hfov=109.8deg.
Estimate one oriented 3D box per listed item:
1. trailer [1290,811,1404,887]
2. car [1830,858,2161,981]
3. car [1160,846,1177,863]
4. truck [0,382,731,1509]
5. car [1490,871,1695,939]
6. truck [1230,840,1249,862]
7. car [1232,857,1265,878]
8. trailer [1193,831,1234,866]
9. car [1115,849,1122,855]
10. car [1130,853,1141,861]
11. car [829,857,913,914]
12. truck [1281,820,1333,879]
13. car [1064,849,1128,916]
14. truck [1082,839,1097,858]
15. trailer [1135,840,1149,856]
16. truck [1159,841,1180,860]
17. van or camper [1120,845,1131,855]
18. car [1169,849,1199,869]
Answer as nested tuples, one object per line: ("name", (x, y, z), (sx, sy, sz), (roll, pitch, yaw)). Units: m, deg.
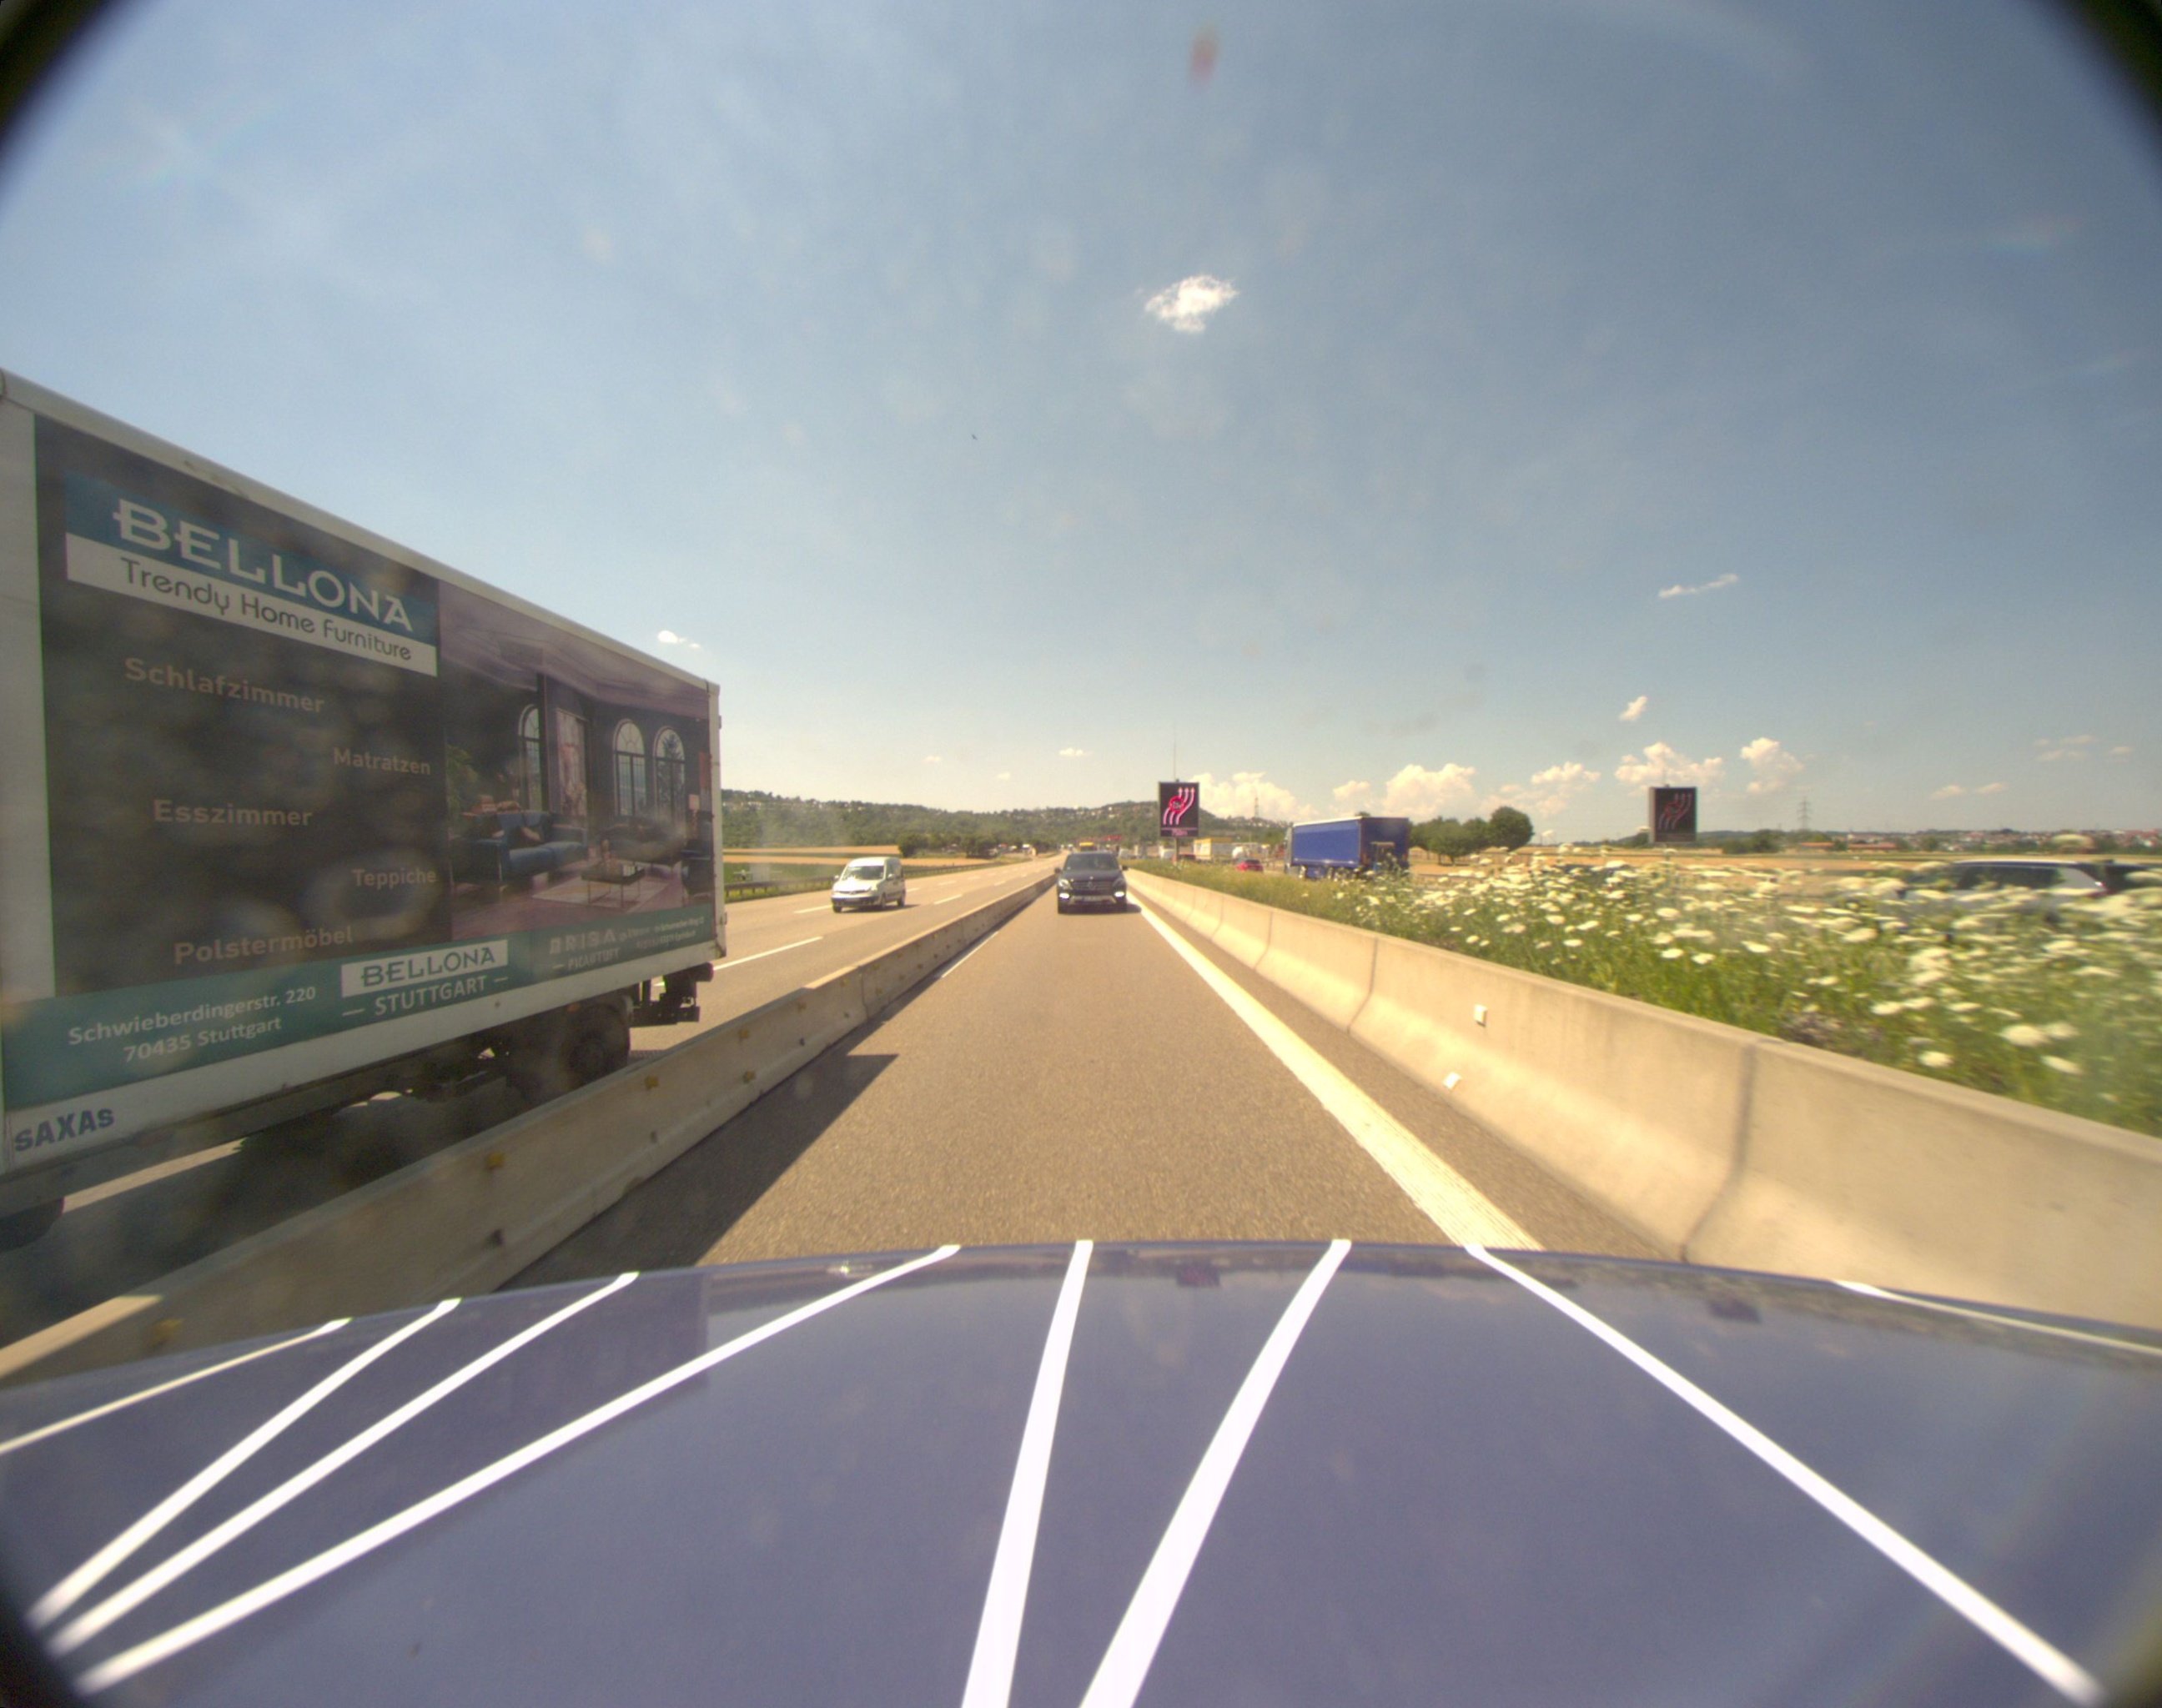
("trailer", (16.067, -0.272, 47.350), (2.392, 4.062, 14.097), (0, 0, 1))
("car", (15.610, 0.960, 12.853), (1.837, 1.709, 4.080), (1, 0, 0))
("car", (13.196, 0.132, 114.905), (2.052, 2.486, 5.812), (0, 0, 0))
("truck", (-4.084, 0.263, 2.787), (2.326, 3.049, 6.751), (-2, 0, 1))
("car", (11.771, 1.102, 17.911), (1.837, 1.316, 4.280), (1, 0, -2))
("truck", (28.997, -0.543, 138.396), (2.903, 3.755, 13.303), (2, 0, 13))
("car", (12.386, 0.974, 56.326), (1.592, 1.499, 4.229), (0, 0, 1))
("trailer", (16.590, -0.693, 96.240), (2.817, 4.104, 14.129), (0, 0, 0))
("car", (9.961, -0.509, 203.145), (1.786, 1.580, 4.541), (-1, 0, 1))
("car", (10.069, 0.585, 140.348), (1.601, 1.460, 4.533), (0, 0, 0))
("car", (-7.002, 1.000, 25.716), (1.630, 1.726, 3.973), (-2, 0, 1))
("truck", (16.211, -0.279, 54.715), (2.417, 4.063, 4.659), (0, 0, 1))
("car", (0.445, 0.772, 22.087), (1.630, 1.711, 3.865), (-2, 0, 1))
("truck", (1.486, -0.942, 130.075), (2.272, 3.139, 8.186), (-2, 1, 1))
("trailer", (17.746, -1.809, 222.287), (2.900, 4.349, 12.992), (1, 0, 1))
("truck", (17.715, -0.680, 152.935), (2.801, 3.588, 13.288), (2, 0, 1))
("van or camper", (10.061, -0.916, 171.189), (2.040, 2.208, 7.207), (-2, 0, 0))
("car", (8.944, 0.404, 66.413), (1.899, 1.569, 4.935), (-2, 1, 0))
